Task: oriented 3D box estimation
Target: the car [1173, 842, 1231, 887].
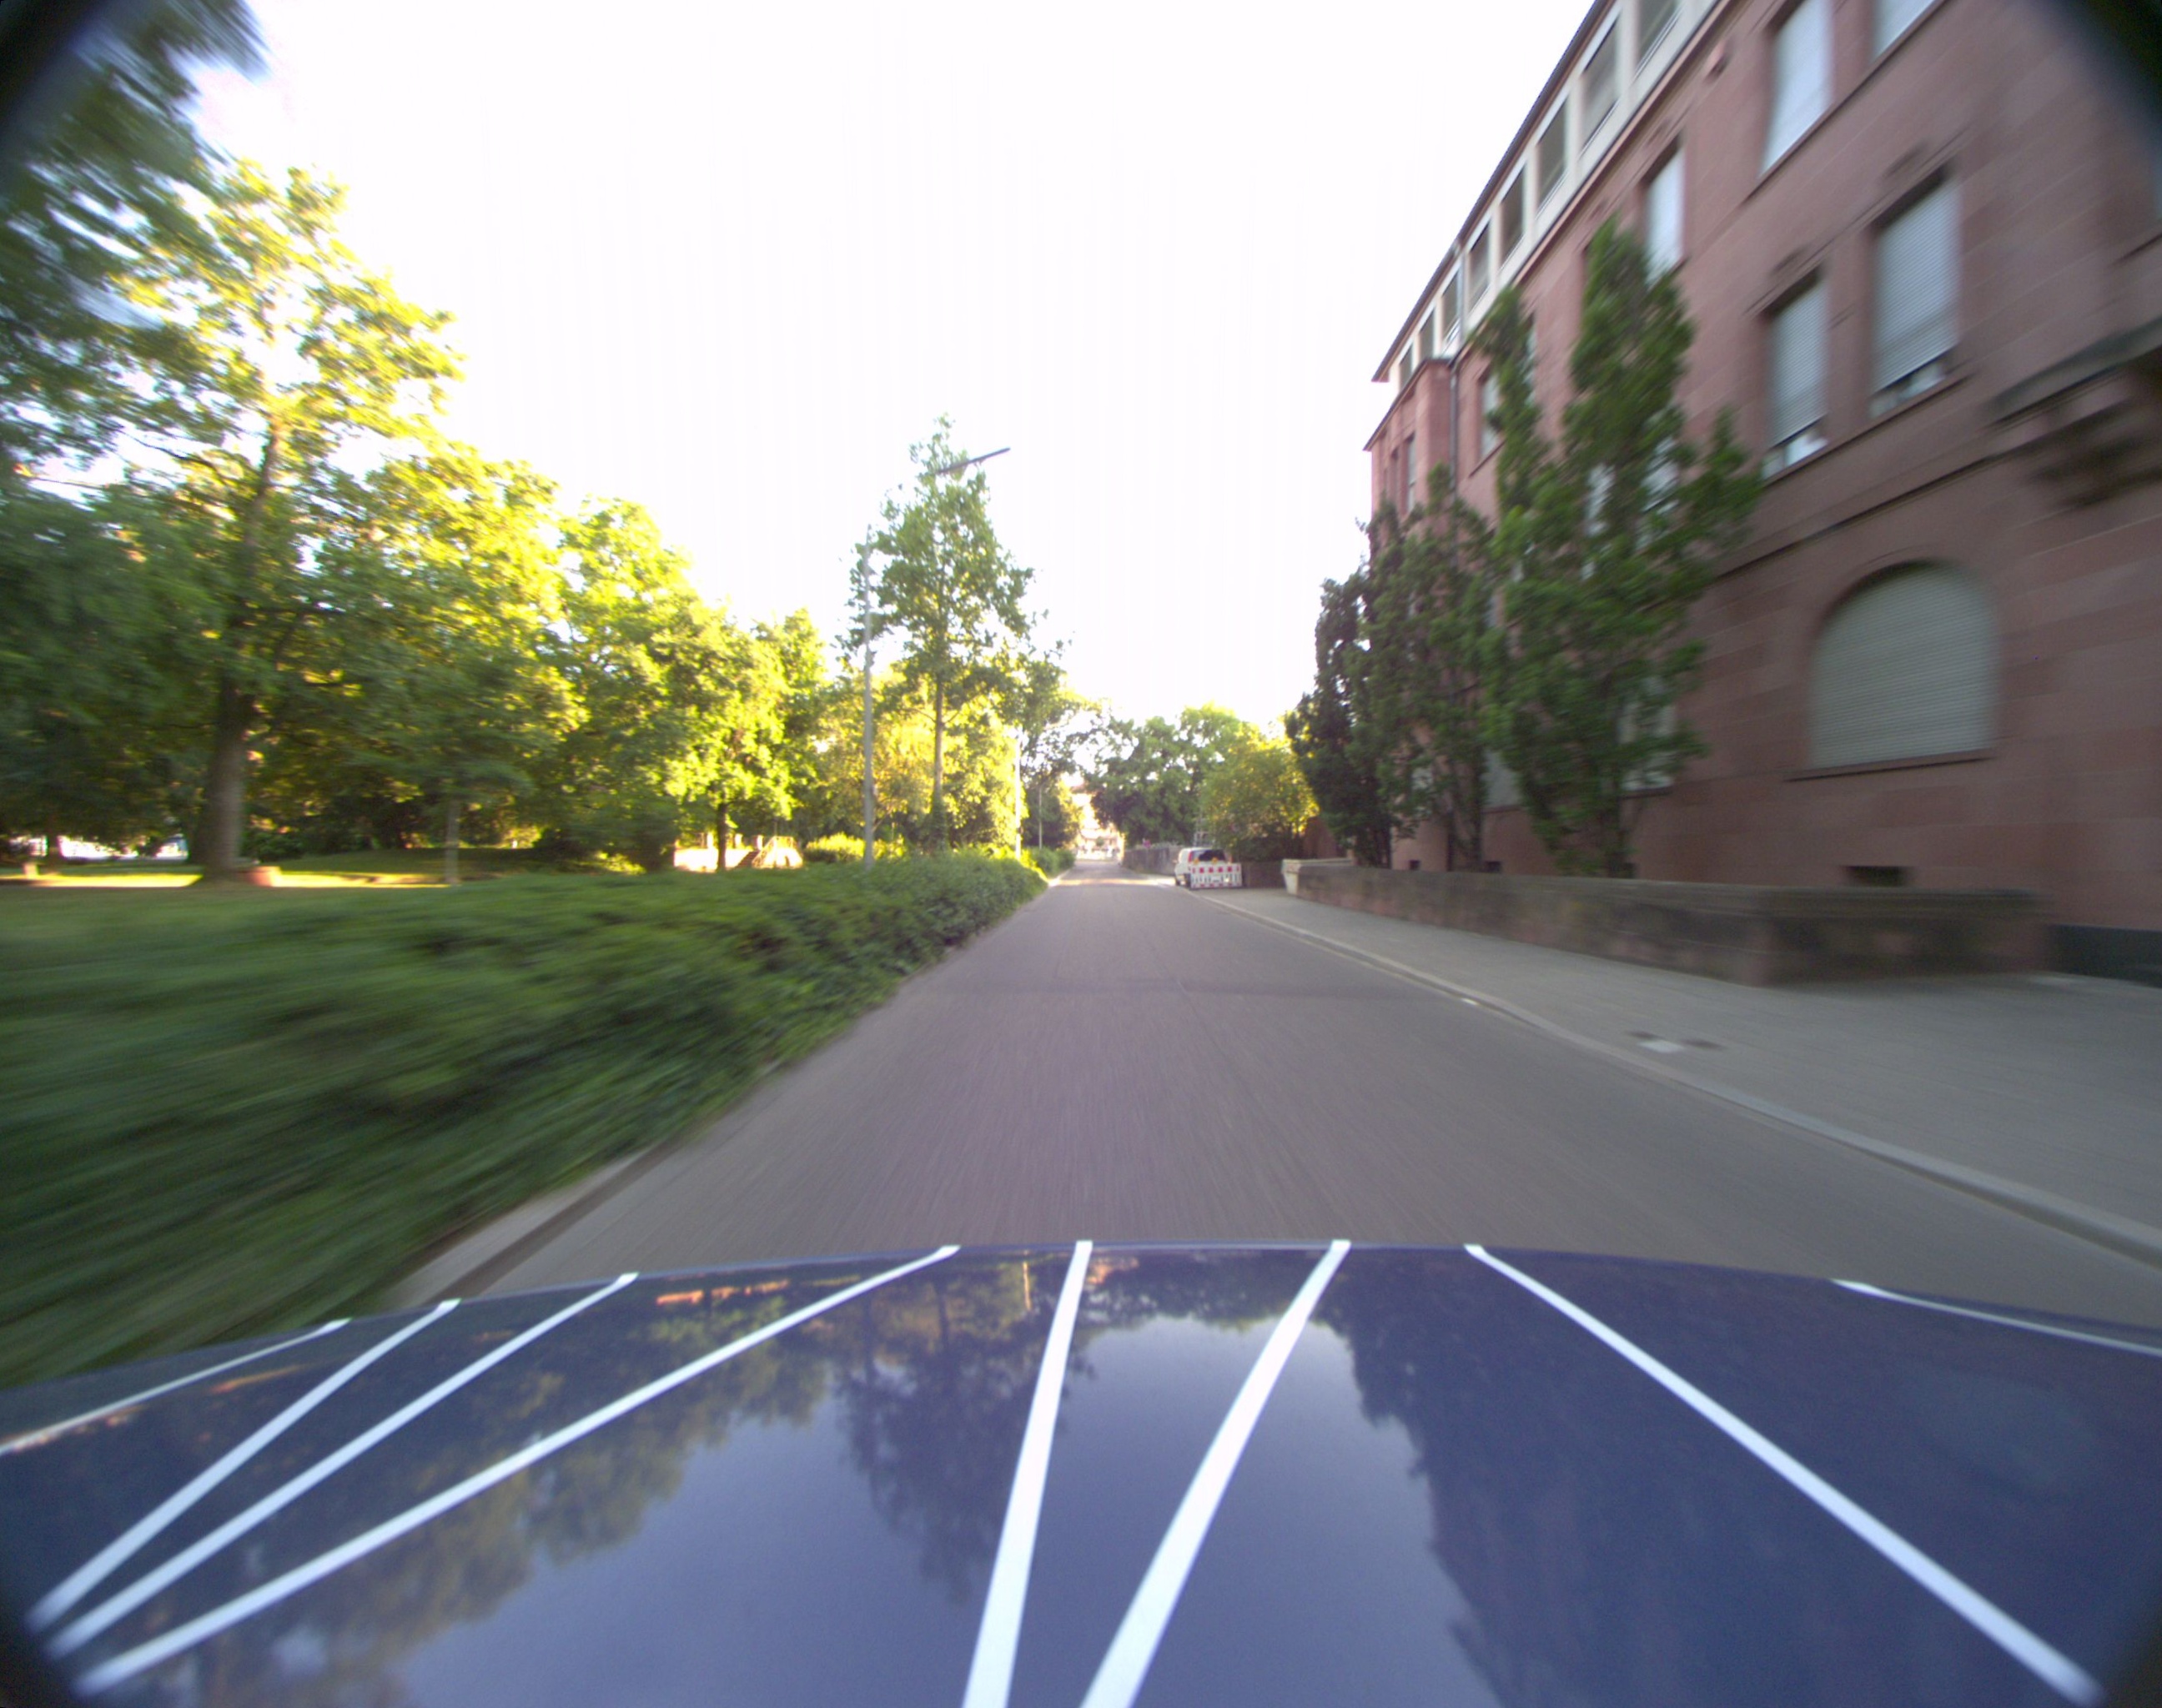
[{"bbox_3d":[5.783,0.459,36.961,1.887,2.002,5.225,-2,0,-1],"label":"car"}]
